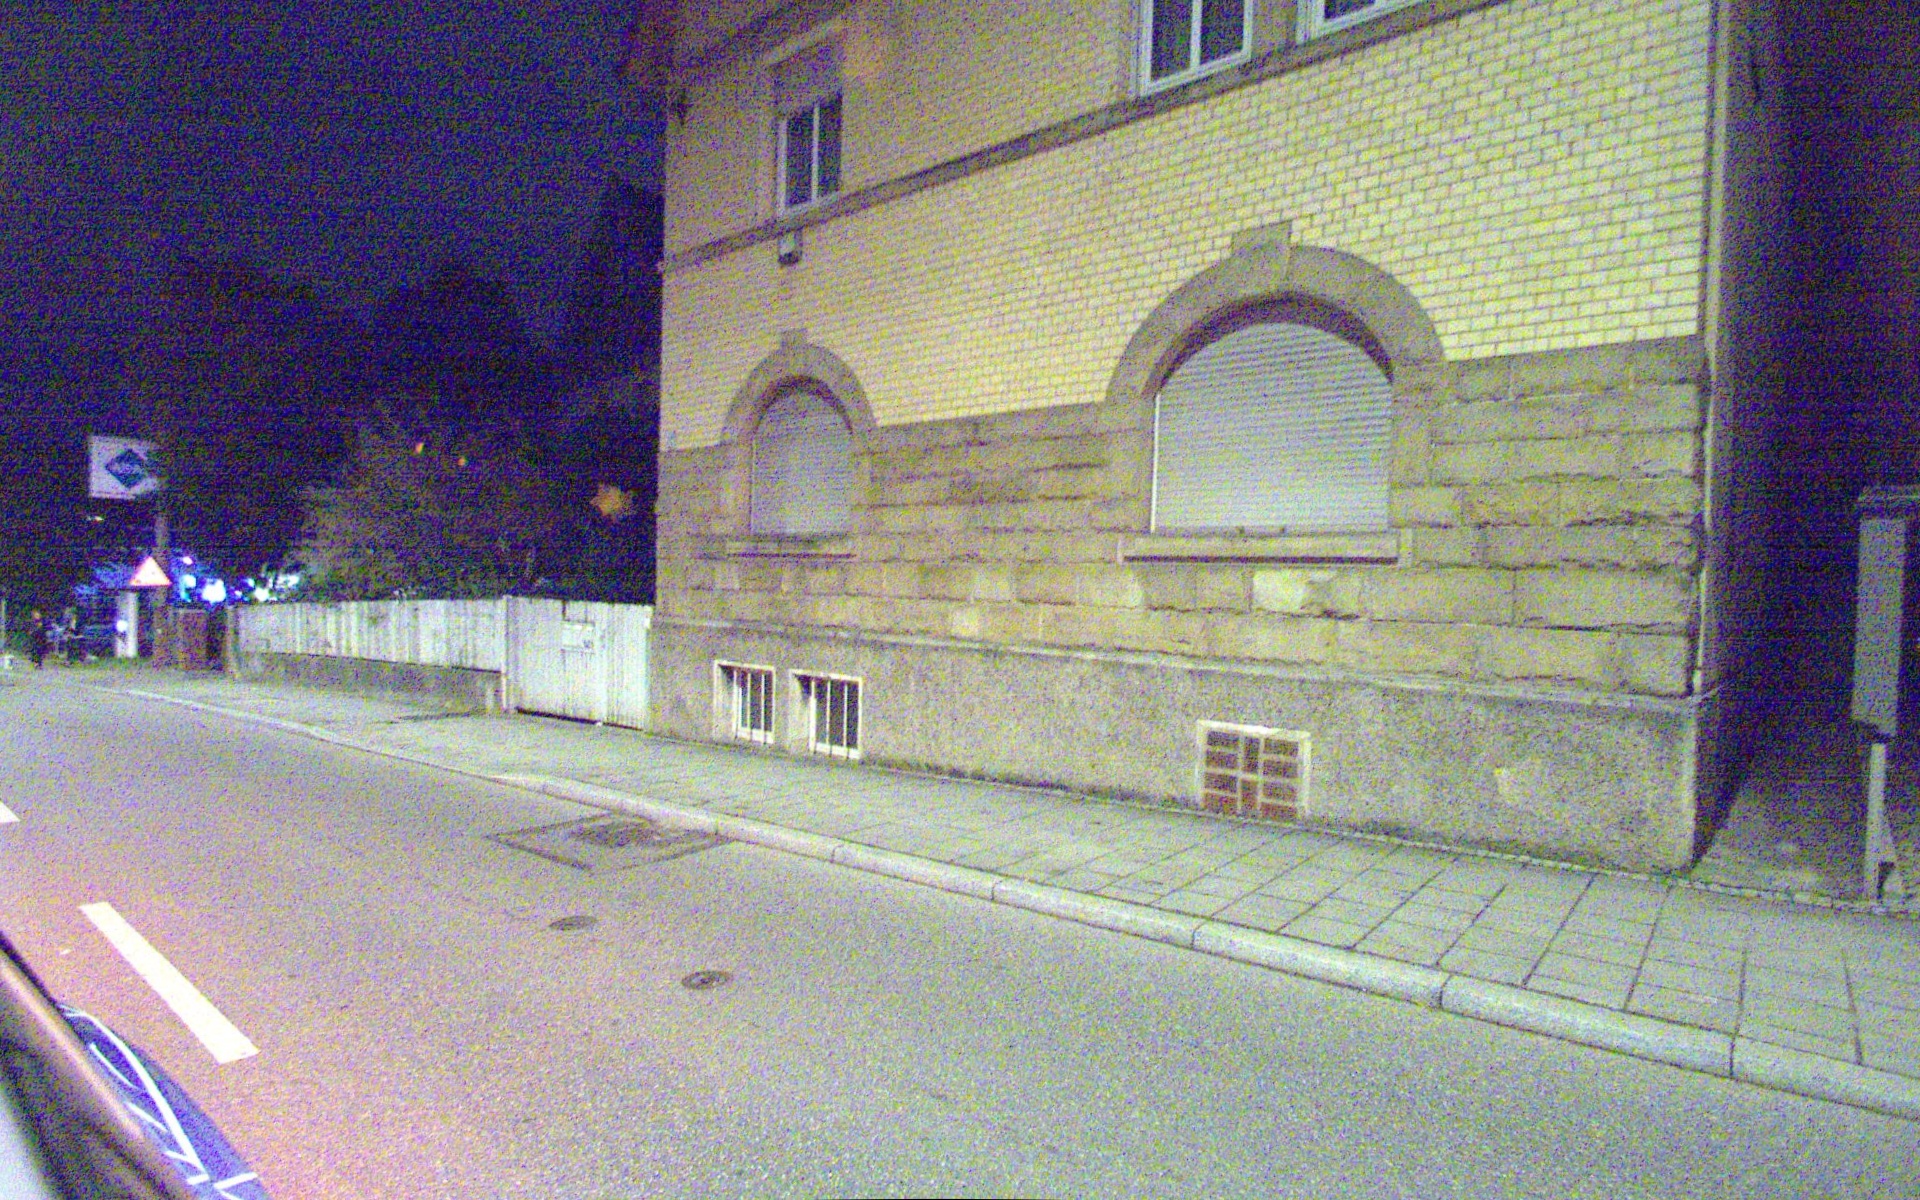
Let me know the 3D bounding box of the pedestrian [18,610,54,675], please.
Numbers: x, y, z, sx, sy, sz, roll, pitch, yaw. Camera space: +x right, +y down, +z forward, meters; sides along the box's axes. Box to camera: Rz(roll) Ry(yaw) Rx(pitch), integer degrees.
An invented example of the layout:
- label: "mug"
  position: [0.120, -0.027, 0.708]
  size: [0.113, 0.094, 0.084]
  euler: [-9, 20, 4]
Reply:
- label: "pedestrian"
  position: [-25.737, 1.160, 28.189]
  size: [0.500, 1.773, 0.664]
  euler: [-1, 0, 41]

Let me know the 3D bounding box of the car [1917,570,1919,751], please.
- label: "car"
  position: [7.217, 0.532, 6.211]
  size: [1.718, 1.452, 3.612]
  euler: [-1, 1, 40]

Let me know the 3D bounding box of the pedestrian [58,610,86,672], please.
- label: "pedestrian"
  position: [-26.074, 1.199, 29.723]
  size: [0.500, 1.773, 0.557]
  euler: [-1, 0, 41]
